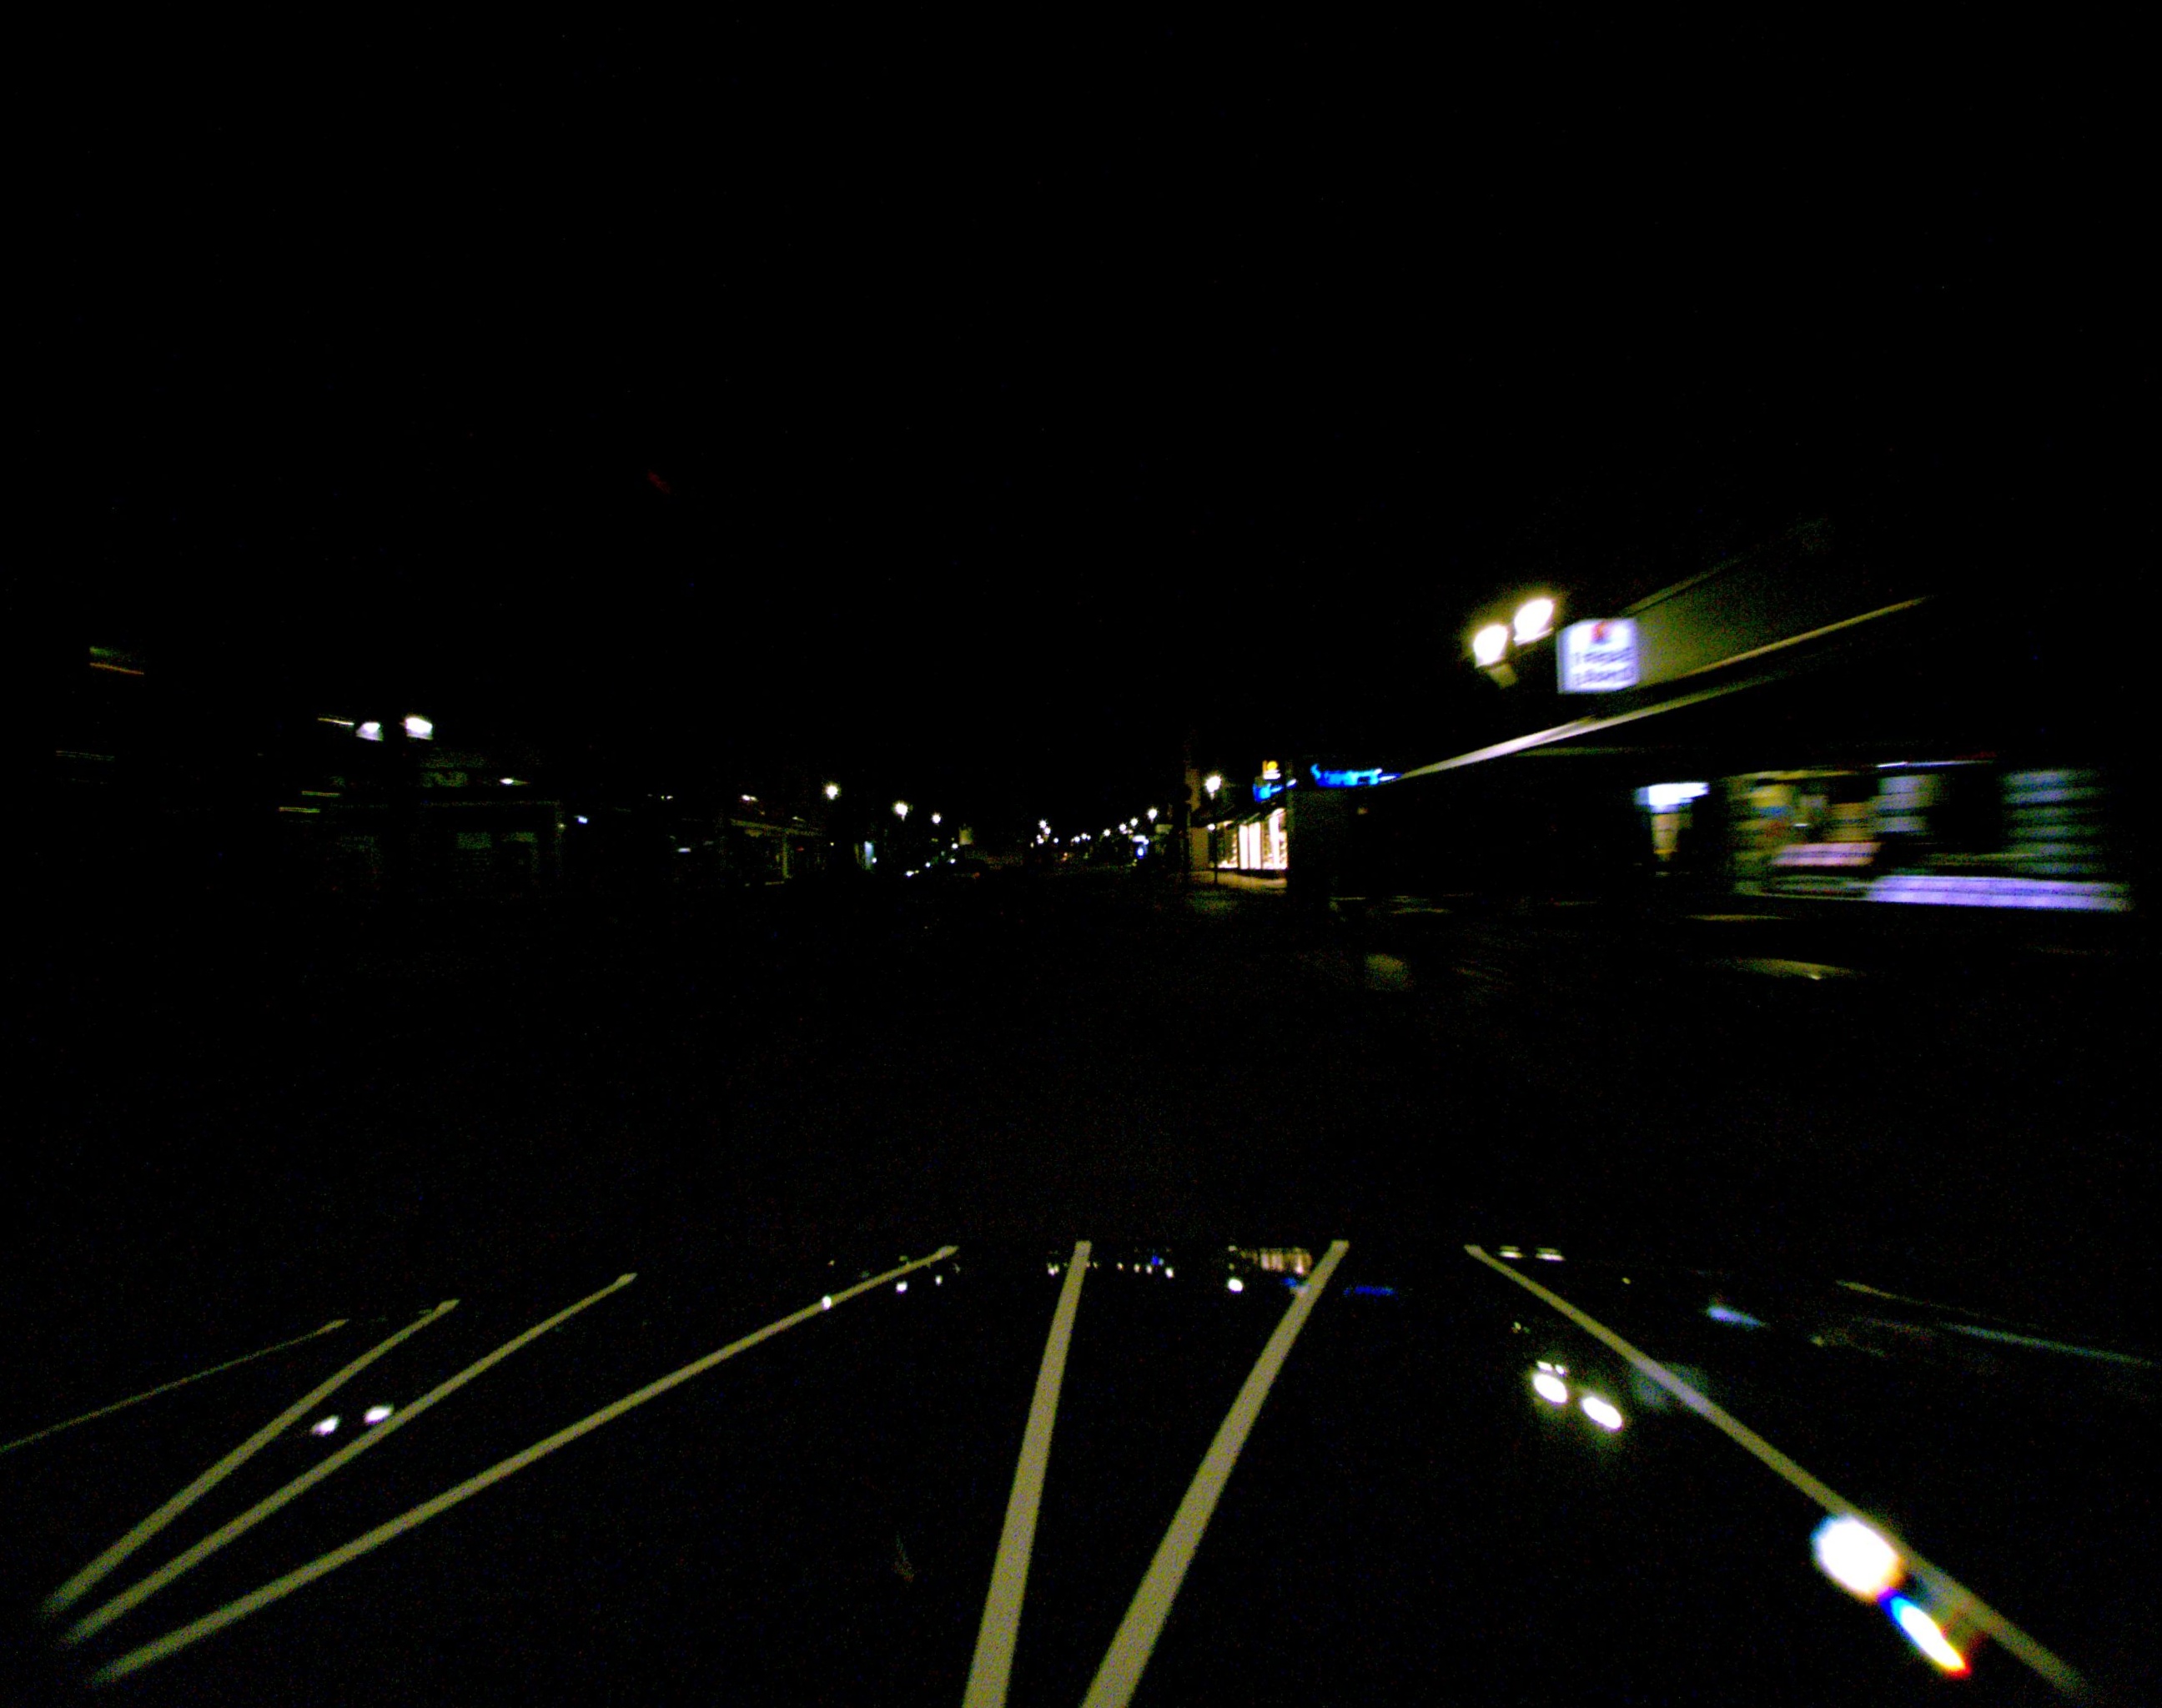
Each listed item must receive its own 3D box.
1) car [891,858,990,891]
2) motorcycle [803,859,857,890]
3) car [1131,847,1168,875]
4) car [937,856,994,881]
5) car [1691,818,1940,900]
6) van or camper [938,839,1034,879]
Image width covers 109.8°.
[{"bbox_3d":[-6.953,0.984,37.780,4.555,1.447,1.633,-1,0,-35],"label":"car"},{"bbox_3d":[-11.144,0.901,33.852,2.226,1.263,0.531,-2,1,-42],"label":"motorcycle"},{"bbox_3d":[3.941,0.379,44.147,1.655,1.417,4.014,-4,0,-1],"label":"car"},{"bbox_3d":[-7.376,0.925,48.497,3.183,1.447,1.691,-1,0,-27],"label":"car"},{"bbox_3d":[15.524,0.122,16.200,3.610,1.511,1.799,-2,-1,-3],"label":"car"},{"bbox_3d":[-6.453,0.302,51.934,6.061,2.518,2.157,-1,0,-30],"label":"van or camper"}]
